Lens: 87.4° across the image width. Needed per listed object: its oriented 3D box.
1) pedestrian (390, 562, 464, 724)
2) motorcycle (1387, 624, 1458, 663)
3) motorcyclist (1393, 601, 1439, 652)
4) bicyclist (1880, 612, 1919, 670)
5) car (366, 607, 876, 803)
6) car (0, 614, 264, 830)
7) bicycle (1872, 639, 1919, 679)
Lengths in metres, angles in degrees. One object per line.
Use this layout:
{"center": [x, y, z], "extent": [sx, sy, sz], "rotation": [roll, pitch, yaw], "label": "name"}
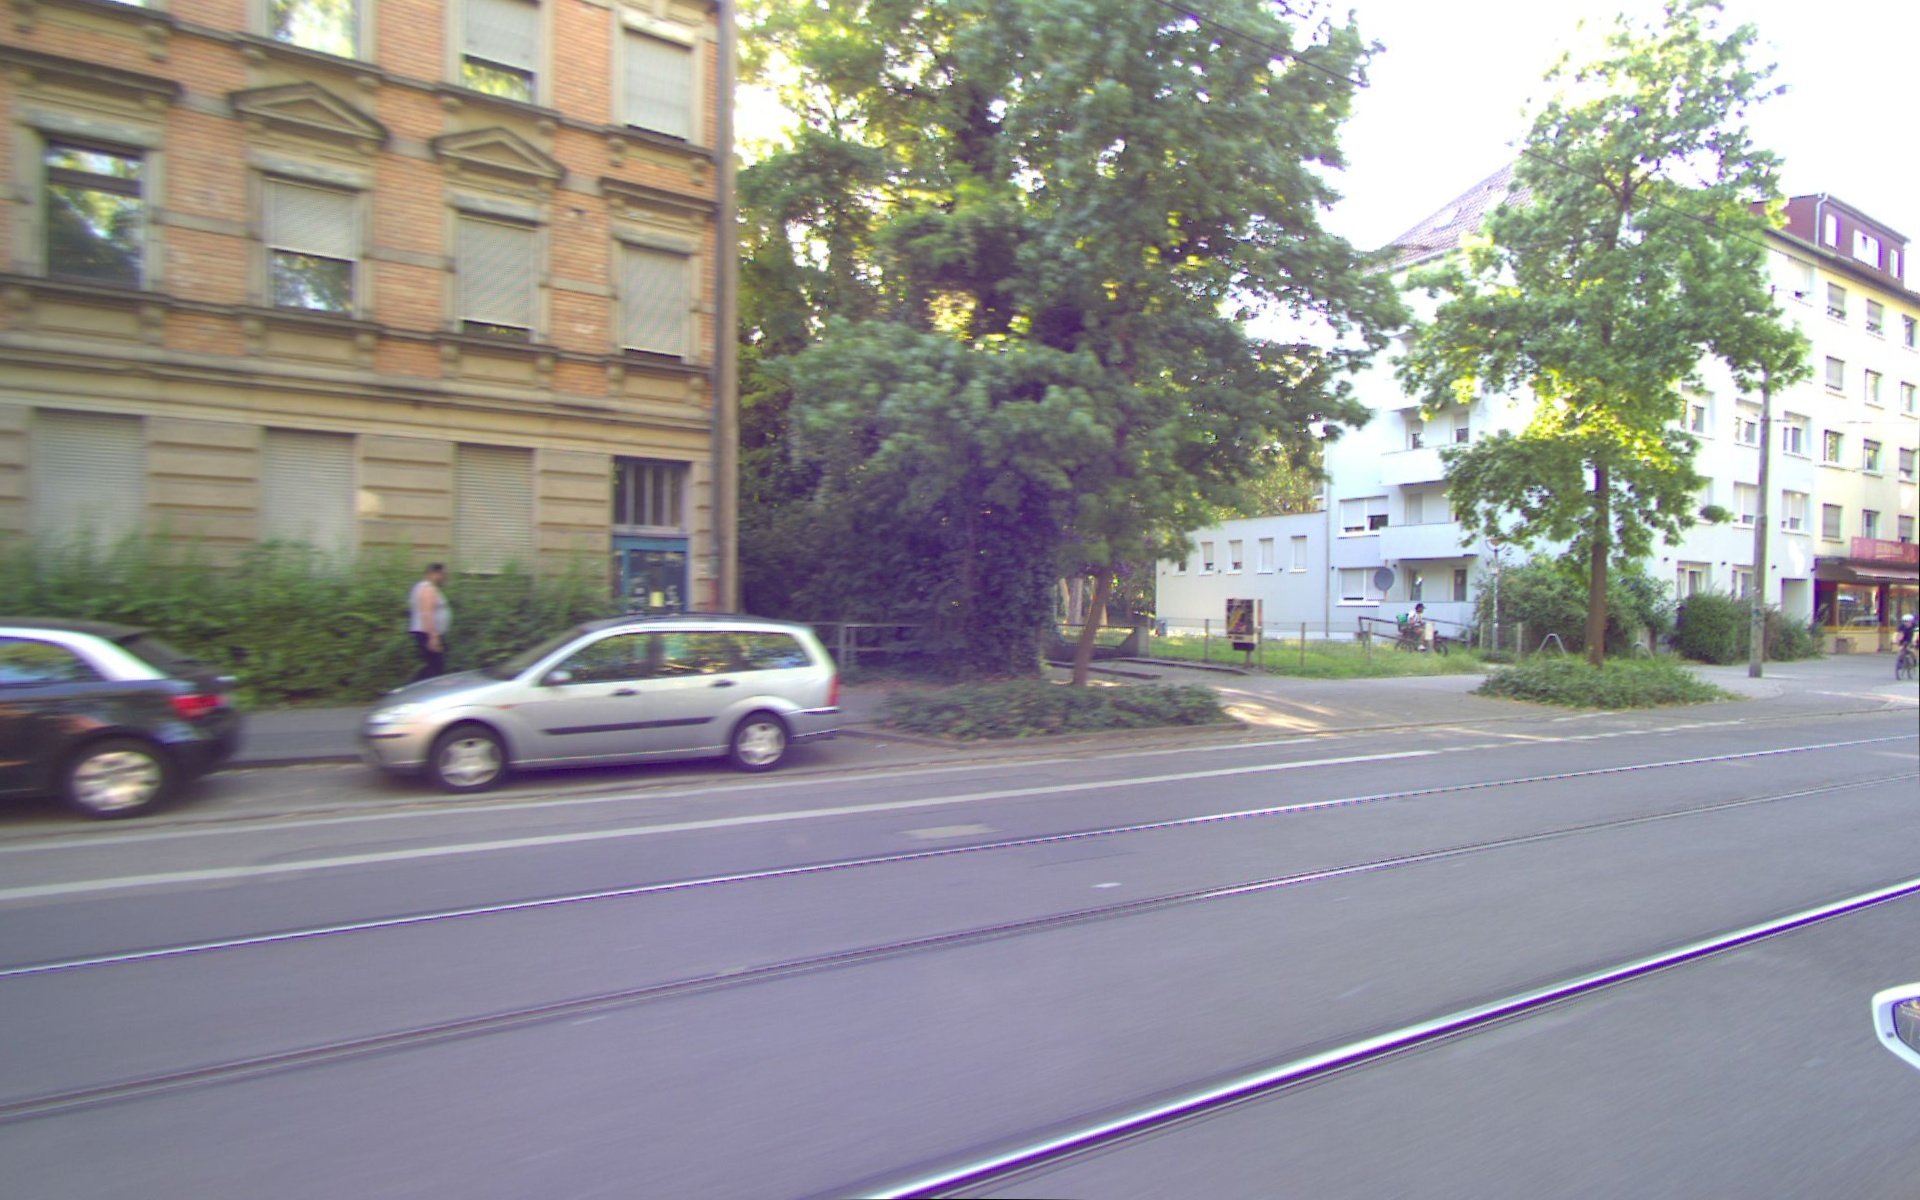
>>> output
{"center": [-6.405, 0.493, 12.059], "extent": [0.720, 1.872, 0.737], "rotation": [1, 1, -32], "label": "pedestrian"}
{"center": [13.312, 1.228, 28.956], "extent": [0.590, 1.046, 1.862], "rotation": [1, -1, -30], "label": "motorcycle"}
{"center": [13.218, 0.757, 29.133], "extent": [0.590, 1.469, 1.095], "rotation": [1, 0, -30], "label": "motorcyclist"}
{"center": [24.610, 1.066, 26.242], "extent": [0.827, 1.474, 0.638], "rotation": [1, -1, -31], "label": "bicyclist"}
{"center": [-3.228, 0.892, 9.981], "extent": [4.478, 1.571, 1.693], "rotation": [1, 0, -28], "label": "car"}
{"center": [-7.569, 0.851, 7.379], "extent": [3.904, 1.464, 1.649], "rotation": [1, 0, -31], "label": "car"}
{"center": [24.604, 1.527, 26.225], "extent": [2.077, 1.000, 0.637], "rotation": [1, -1, -32], "label": "bicycle"}
